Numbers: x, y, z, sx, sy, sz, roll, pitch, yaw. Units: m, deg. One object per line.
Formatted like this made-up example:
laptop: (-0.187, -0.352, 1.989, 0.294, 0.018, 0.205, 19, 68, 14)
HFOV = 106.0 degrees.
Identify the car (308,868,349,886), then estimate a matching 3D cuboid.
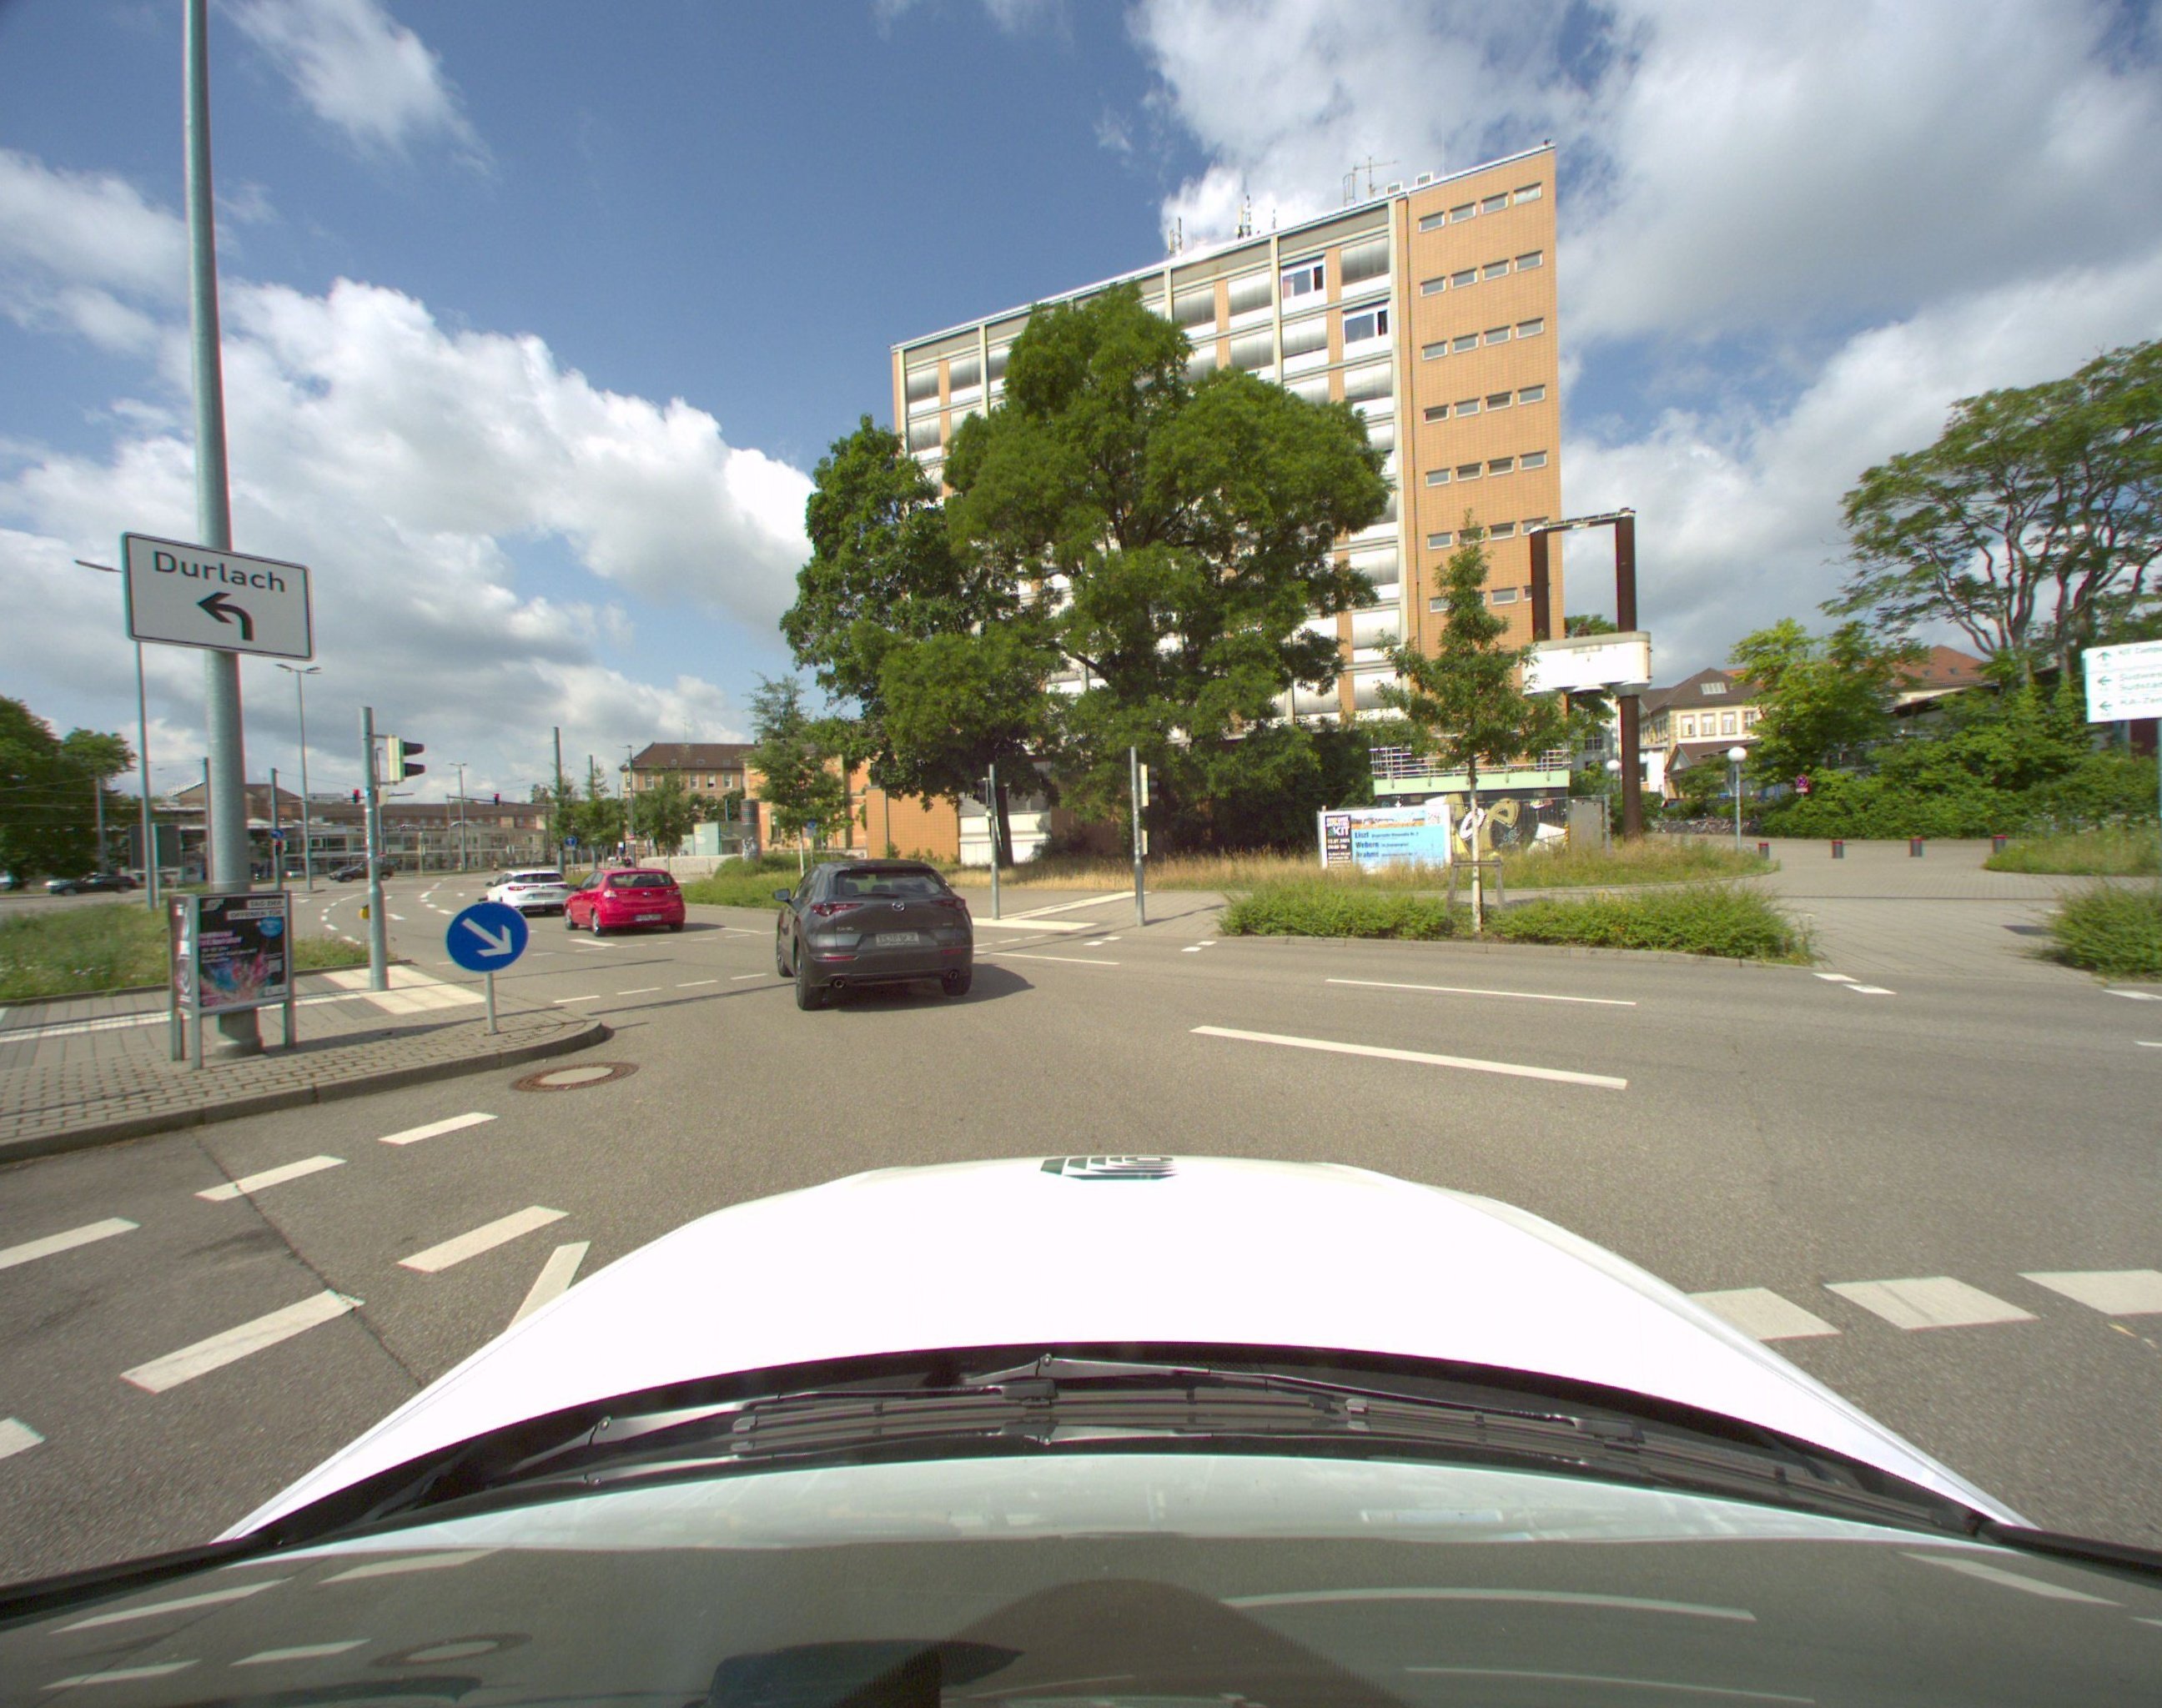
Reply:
car: (-81.633, 2.497, 88.424, 1.853, 1.719, 3.971, -3, 1, -22)

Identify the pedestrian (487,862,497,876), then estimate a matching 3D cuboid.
pedestrian: (-67.868, 1.742, 93.845, 0.668, 1.535, 0.677, -2, 1, 10)

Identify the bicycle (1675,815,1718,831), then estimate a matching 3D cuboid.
bicycle: (39.939, -1.984, 52.879, 2.037, 0.936, 0.808, -2, 1, 23)

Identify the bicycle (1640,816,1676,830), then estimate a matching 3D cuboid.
bicycle: (43.135, -2.304, 60.913, 2.037, 0.936, 0.808, -2, 1, 23)

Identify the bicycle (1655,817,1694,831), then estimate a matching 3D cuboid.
bicycle: (41.160, -2.075, 56.543, 2.037, 0.936, 0.808, -2, 1, 23)

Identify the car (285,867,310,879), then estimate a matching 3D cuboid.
car: (-110.807, 2.672, 115.220, 3.948, 1.596, 2.013, -2, 1, 39)

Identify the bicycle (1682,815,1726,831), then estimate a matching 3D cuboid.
bicycle: (39.651, -1.945, 51.850, 2.037, 0.936, 0.808, -2, 1, 23)

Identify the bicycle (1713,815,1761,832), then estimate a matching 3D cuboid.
bicycle: (38.083, -1.765, 47.319, 2.037, 0.936, 0.808, -2, 1, 23)

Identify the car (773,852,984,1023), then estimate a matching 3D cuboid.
car: (-2.624, 0.792, 9.727, 1.814, 1.508, 4.173, -2, 0, -23)

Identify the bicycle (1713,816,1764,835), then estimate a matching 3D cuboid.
bicycle: (36.423, -1.577, 45.145, 2.037, 0.936, 0.808, -2, 1, 23)

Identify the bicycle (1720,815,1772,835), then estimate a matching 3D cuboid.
bicycle: (35.689, -1.554, 43.737, 2.037, 0.936, 0.808, -2, 1, 23)

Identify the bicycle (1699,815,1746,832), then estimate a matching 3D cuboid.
bicycle: (38.347, -1.818, 48.699, 2.037, 0.936, 0.808, -2, 1, 23)

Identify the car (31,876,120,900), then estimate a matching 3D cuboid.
car: (-76.988, 2.571, 62.415, 1.790, 1.508, 4.107, -2, 1, 34)

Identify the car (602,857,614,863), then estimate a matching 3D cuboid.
car: (-112.884, 1.367, 194.389, 2.004, 1.442, 3.967, -2, 1, -25)

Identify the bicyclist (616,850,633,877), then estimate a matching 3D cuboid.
bicyclist: (-30.190, 0.635, 53.844, 0.741, 1.702, 0.955, -5, 2, -36)

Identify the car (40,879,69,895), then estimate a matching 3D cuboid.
car: (-127.363, 4.050, 101.035, 3.950, 1.769, 1.814, -2, 1, 44)

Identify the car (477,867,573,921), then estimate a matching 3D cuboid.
car: (-17.593, 1.199, 25.683, 1.864, 1.472, 4.282, -3, 1, -42)

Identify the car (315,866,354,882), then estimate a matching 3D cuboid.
car: (-82.346, 2.181, 89.883, 2.004, 1.530, 3.967, -3, 1, -25)

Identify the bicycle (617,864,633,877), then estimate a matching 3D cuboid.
bicycle: (-30.158, 1.098, 53.857, 0.630, 0.810, 1.769, -4, 2, -36)

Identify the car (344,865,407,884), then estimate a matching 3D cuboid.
car: (-66.630, 1.939, 76.935, 1.790, 1.508, 4.107, -2, 1, 34)

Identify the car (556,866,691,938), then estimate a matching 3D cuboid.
car: (-10.628, 1.014, 18.788, 1.832, 1.439, 4.018, -1, 0, -43)
